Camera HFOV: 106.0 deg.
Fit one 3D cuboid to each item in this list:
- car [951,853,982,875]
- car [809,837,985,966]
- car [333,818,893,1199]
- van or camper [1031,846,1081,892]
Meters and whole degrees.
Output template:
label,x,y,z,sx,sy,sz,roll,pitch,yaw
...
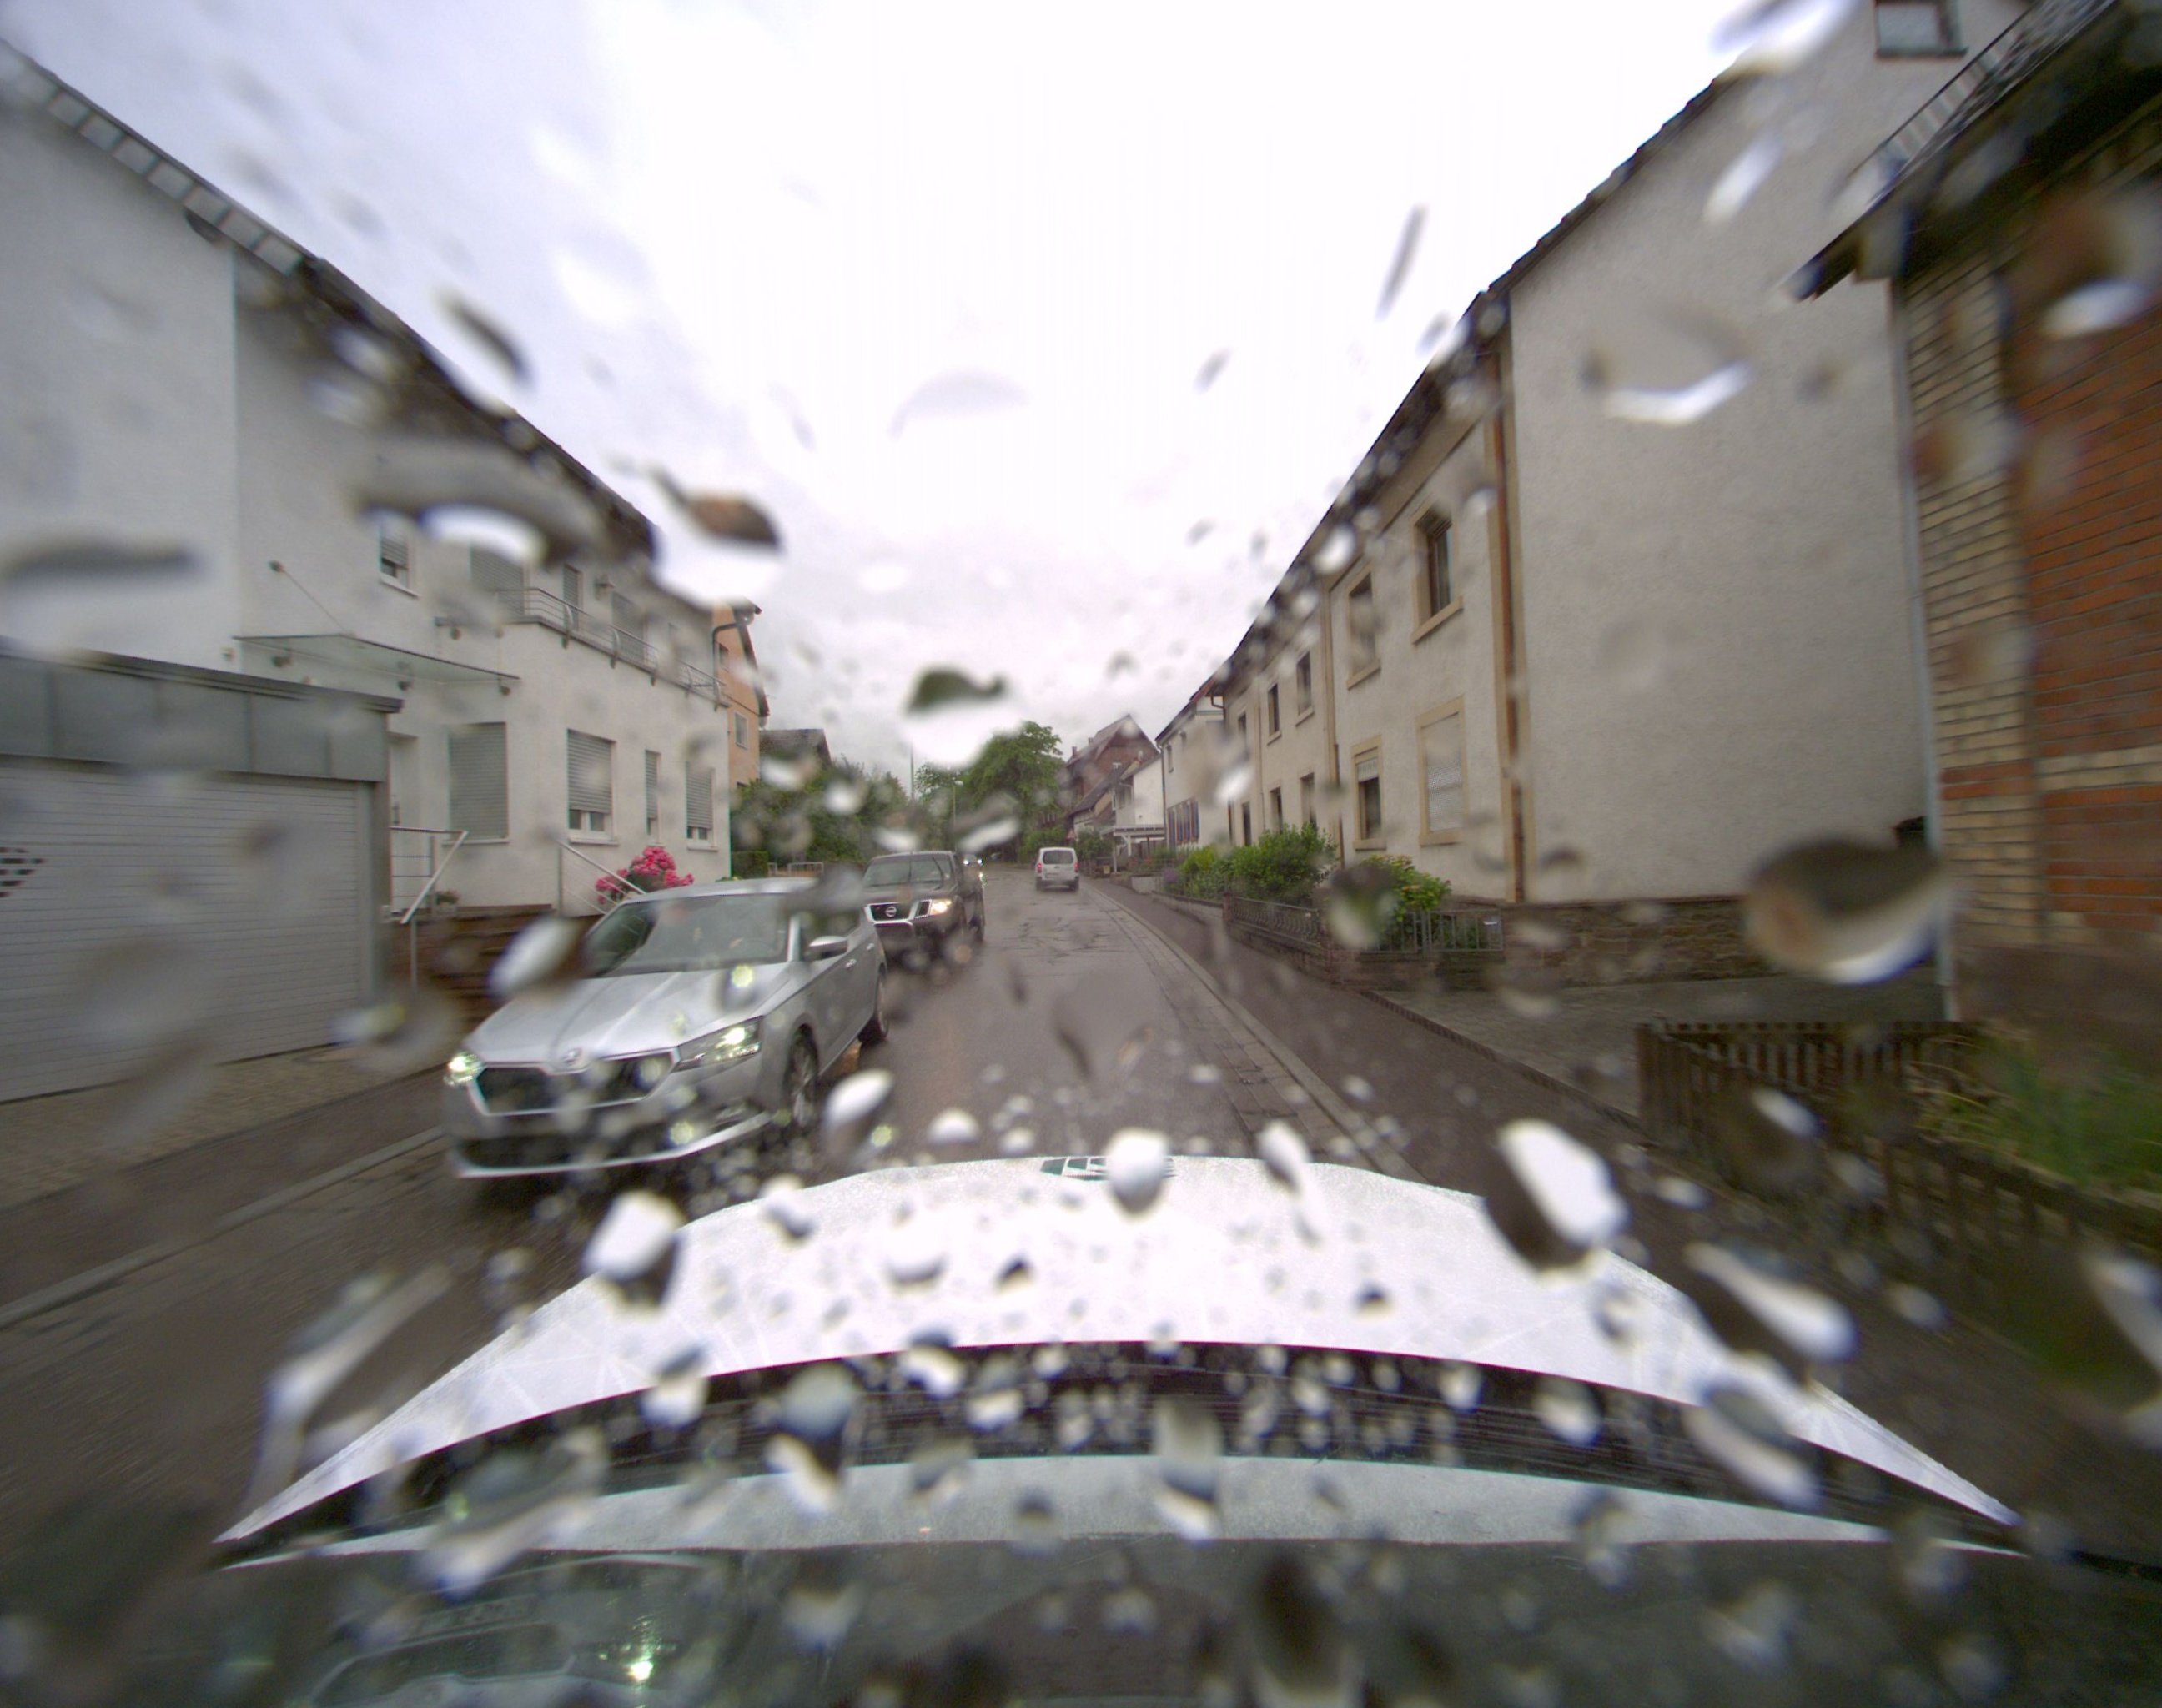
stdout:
label,x,y,z,sx,sy,sz,roll,pitch,yaw
car,-10.615,0.911,75.388,2.001,1.878,3.971,-1,0,-22
car,-2.809,0.653,13.578,1.989,1.677,4.778,-2,0,-3
car,-2.463,0.679,5.493,1.685,1.565,3.928,-2,-1,-4
van or camper,-1.032,0.616,35.364,1.937,1.851,4.000,-1,0,1
